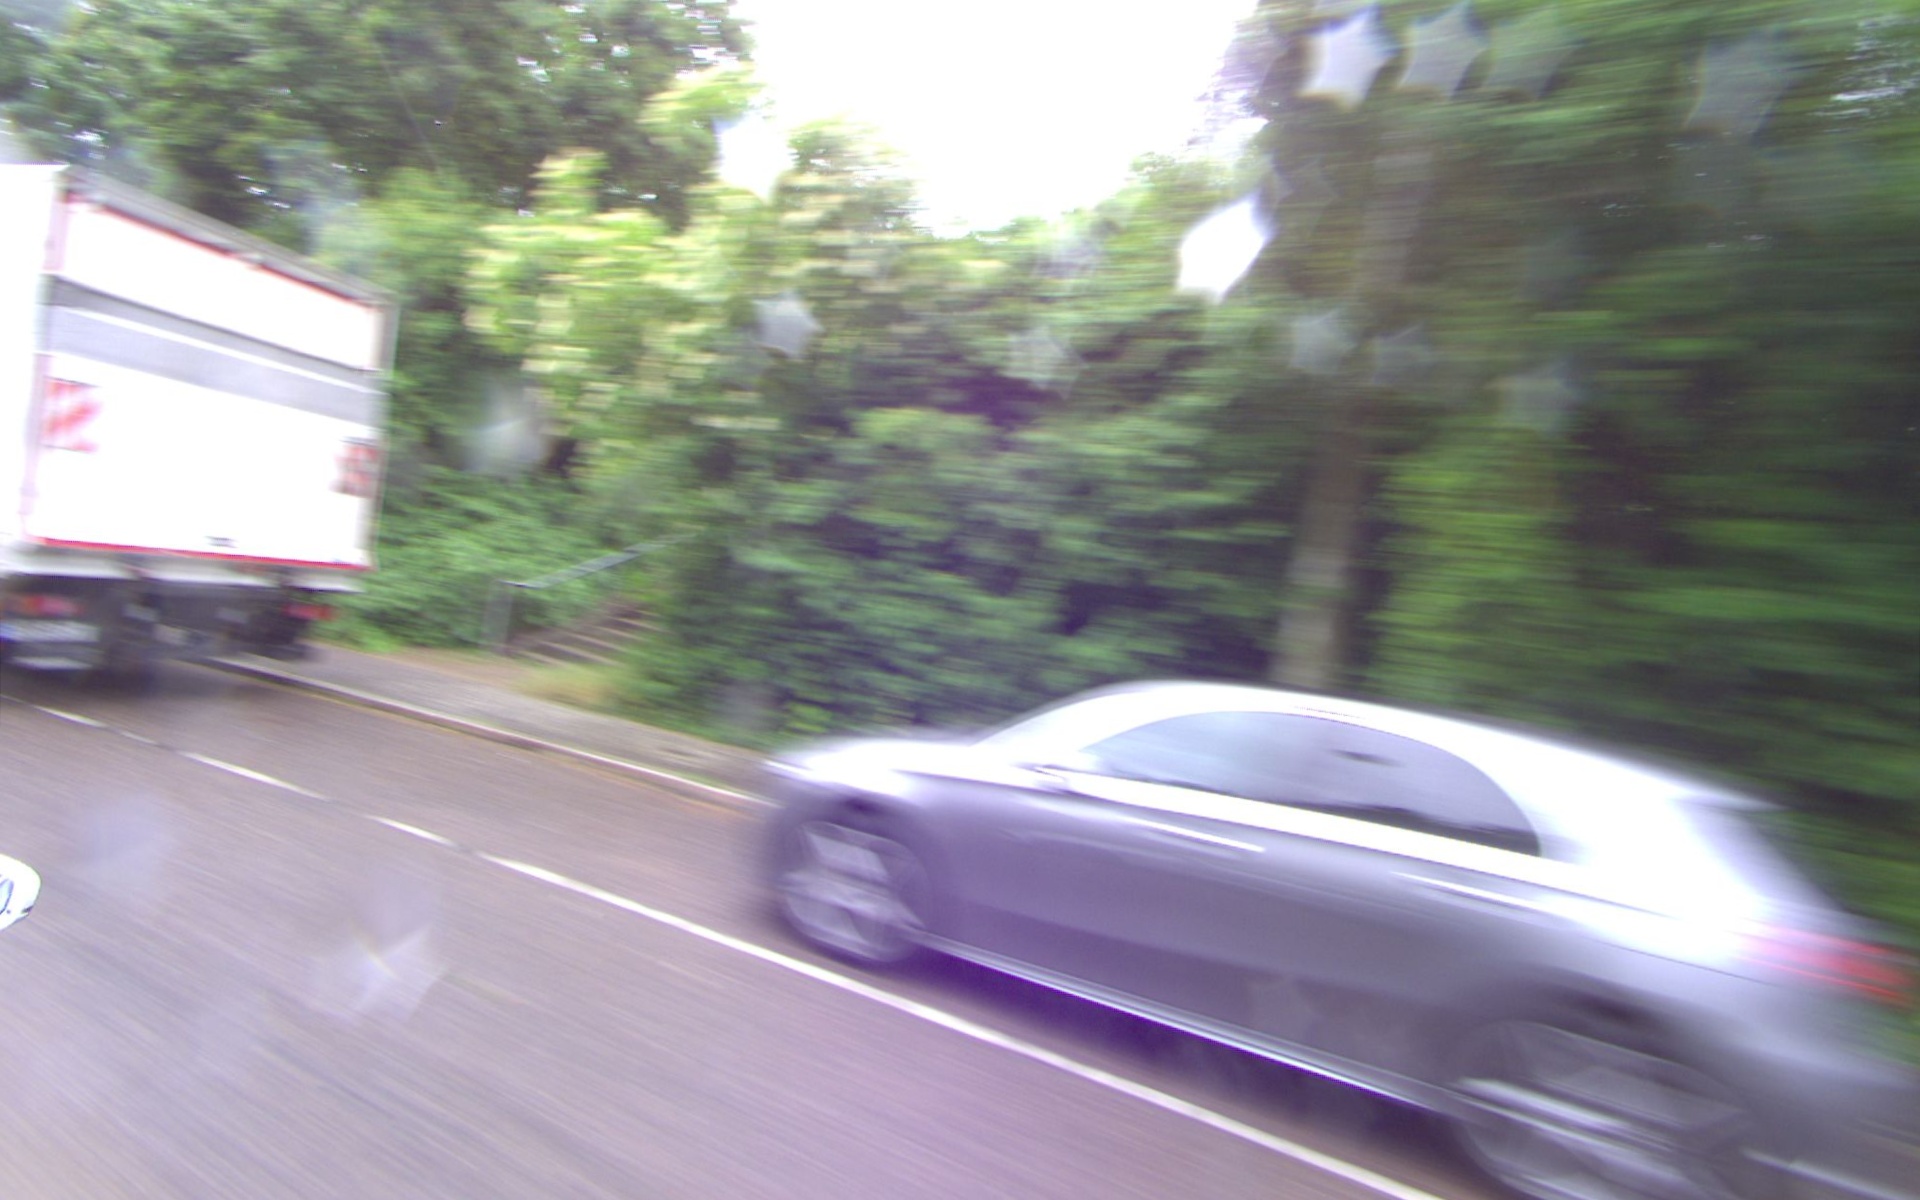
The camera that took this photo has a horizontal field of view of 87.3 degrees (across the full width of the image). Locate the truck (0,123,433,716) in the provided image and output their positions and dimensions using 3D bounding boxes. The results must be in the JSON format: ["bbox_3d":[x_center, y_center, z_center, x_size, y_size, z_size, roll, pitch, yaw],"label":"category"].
[{"bbox_3d":[-9.225,-1.570,8.705,8.179,3.618,3.017,8,1,17],"label":"truck"}]

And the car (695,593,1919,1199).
[{"bbox_3d":[1.051,1.017,4.342,4.054,1.461,1.724,8,-1,29],"label":"car"}]
